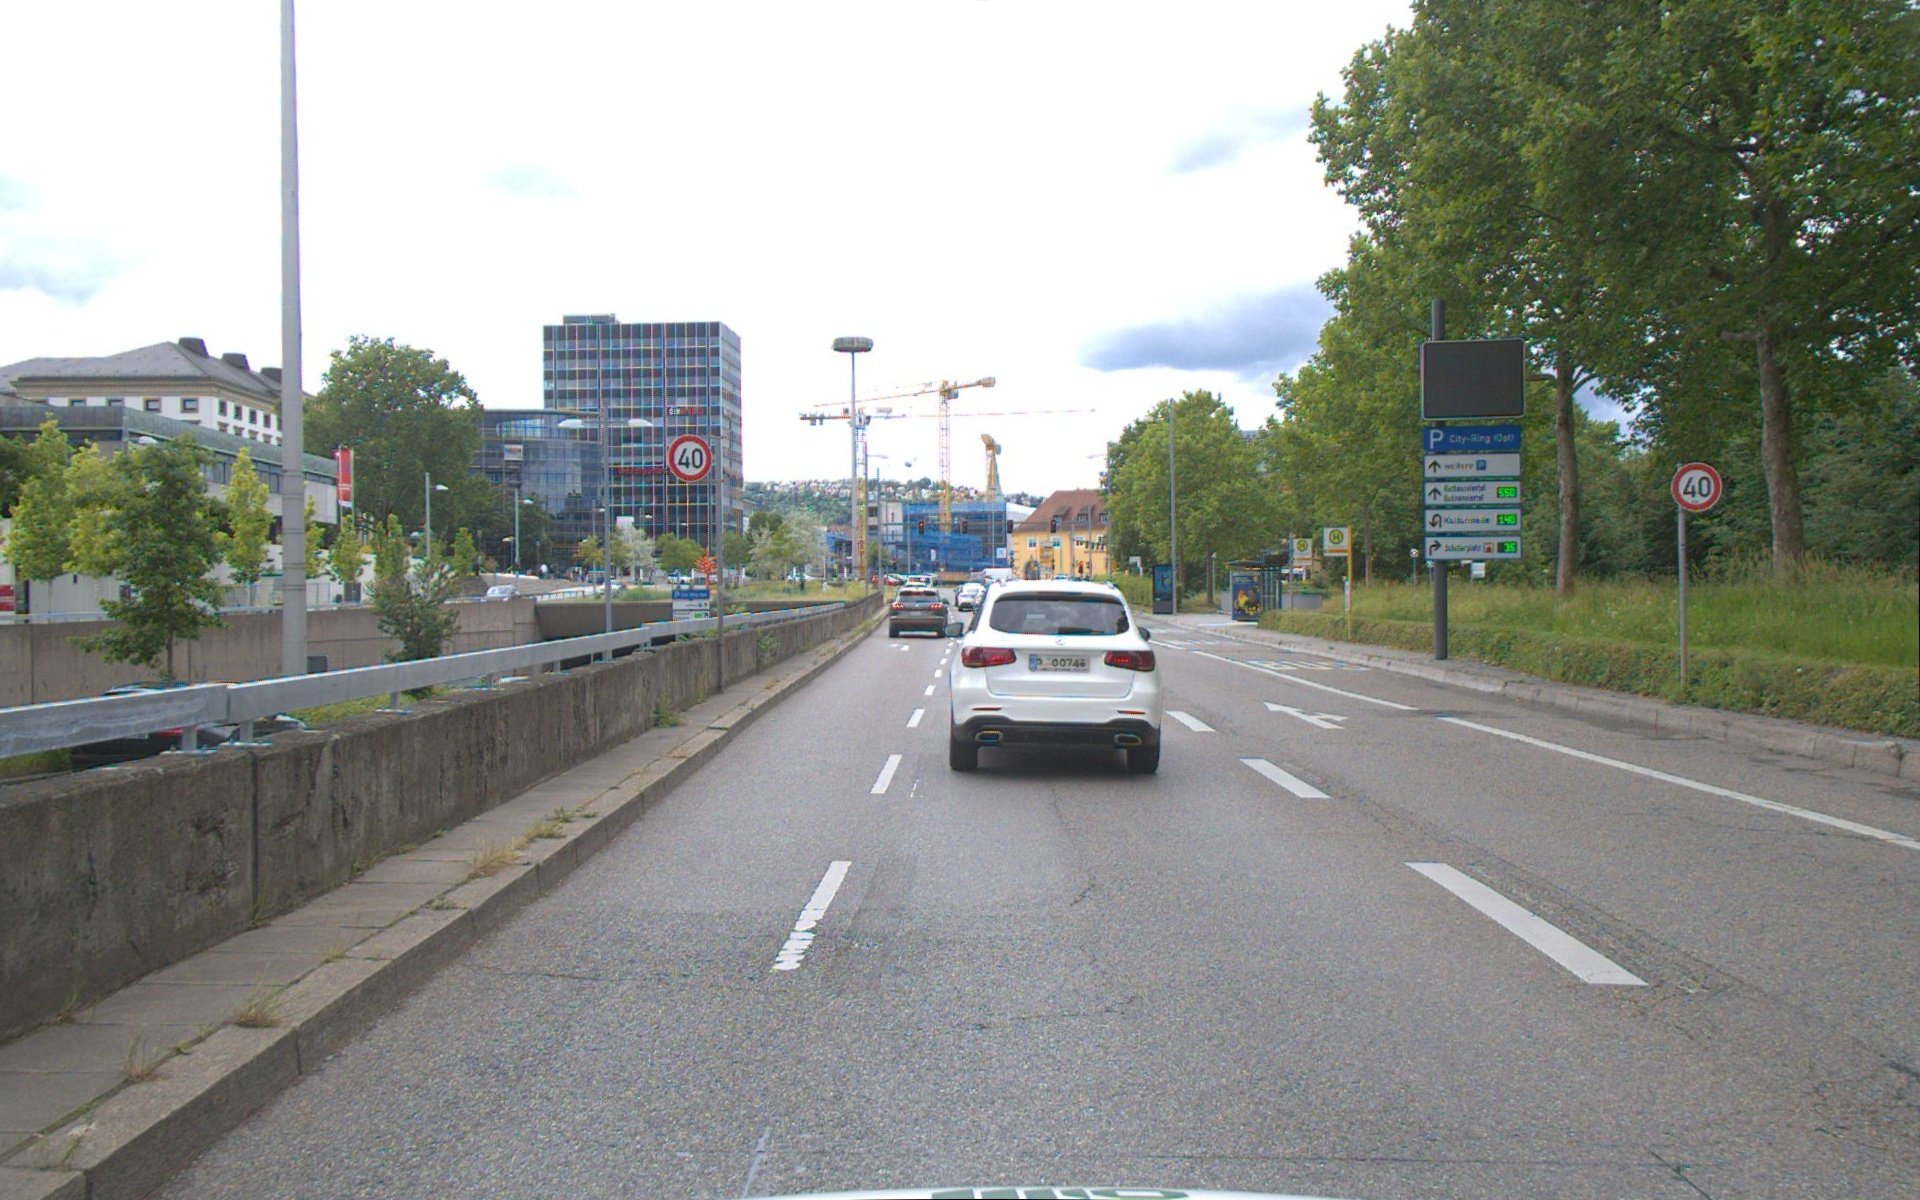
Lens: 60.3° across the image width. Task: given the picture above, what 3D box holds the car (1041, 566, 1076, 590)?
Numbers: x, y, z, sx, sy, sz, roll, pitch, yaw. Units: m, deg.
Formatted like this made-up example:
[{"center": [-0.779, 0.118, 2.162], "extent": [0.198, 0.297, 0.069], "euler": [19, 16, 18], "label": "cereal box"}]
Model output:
[{"center": [7.211, -1.590, 121.860], "extent": [1.955, 1.646, 3.995], "euler": [2, 0, -6], "label": "car"}]

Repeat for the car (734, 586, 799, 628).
[{"center": [-6.640, 0.212, 57.055], "extent": [1.684, 1.315, 4.001], "euler": [2, 1, 1], "label": "car"}]

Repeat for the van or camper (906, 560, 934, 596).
[{"center": [-2.736, -1.525, 114.020], "extent": [1.883, 2.360, 3.998], "euler": [1, -1, -1], "label": "van or camper"}]

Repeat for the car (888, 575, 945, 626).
[{"center": [-1.493, -0.014, 56.871], "extent": [1.883, 1.629, 3.999], "euler": [1, 1, -1], "label": "car"}]

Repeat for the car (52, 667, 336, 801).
[{"center": [-10.808, 1.823, 23.782], "extent": [1.775, 1.485, 4.863], "euler": [1, 0, 0], "label": "car"}]

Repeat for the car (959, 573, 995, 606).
[{"center": [0.962, -0.589, 96.895], "extent": [1.953, 1.812, 3.999], "euler": [2, 0, -1], "label": "car"}]

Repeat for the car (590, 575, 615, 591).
[{"center": [-35.110, -1.683, 162.425], "extent": [1.773, 1.452, 3.706], "euler": [2, 0, -2], "label": "car"}]

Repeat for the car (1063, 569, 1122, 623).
[{"center": [5.058, -0.154, 63.781], "extent": [1.937, 1.926, 4.708], "euler": [2, 0, 1], "label": "car"}]

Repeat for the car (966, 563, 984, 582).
[{"center": [1.683, -3.141, 186.821], "extent": [1.764, 2.049, 3.999], "euler": [2, 0, -1], "label": "car"}]

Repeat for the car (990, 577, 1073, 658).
[{"center": [1.549, 0.357, 37.166], "extent": [1.638, 1.656, 4.000], "euler": [2, 0, 0], "label": "car"}]

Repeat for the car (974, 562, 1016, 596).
[{"center": [1.818, -1.096, 86.585], "extent": [1.953, 1.691, 3.999], "euler": [2, 0, -1], "label": "car"}]

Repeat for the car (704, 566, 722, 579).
[{"center": [-33.348, -3.714, 223.297], "extent": [1.830, 1.646, 3.480], "euler": [2, 0, -2], "label": "car"}]

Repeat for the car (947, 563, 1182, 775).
[{"center": [0.864, 0.554, 15.424], "extent": [1.901, 1.713, 4.000], "euler": [0, 0, 0], "label": "car"}]

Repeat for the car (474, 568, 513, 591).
[{"center": [-30.189, -1.341, 107.094], "extent": [1.797, 1.384, 3.863], "euler": [2, 0, -6], "label": "car"}]

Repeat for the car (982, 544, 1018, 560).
[{"center": [5.605, -6.714, 232.135], "extent": [5.196, 2.096, 1.862], "euler": [2, 0, 42], "label": "car"}]
